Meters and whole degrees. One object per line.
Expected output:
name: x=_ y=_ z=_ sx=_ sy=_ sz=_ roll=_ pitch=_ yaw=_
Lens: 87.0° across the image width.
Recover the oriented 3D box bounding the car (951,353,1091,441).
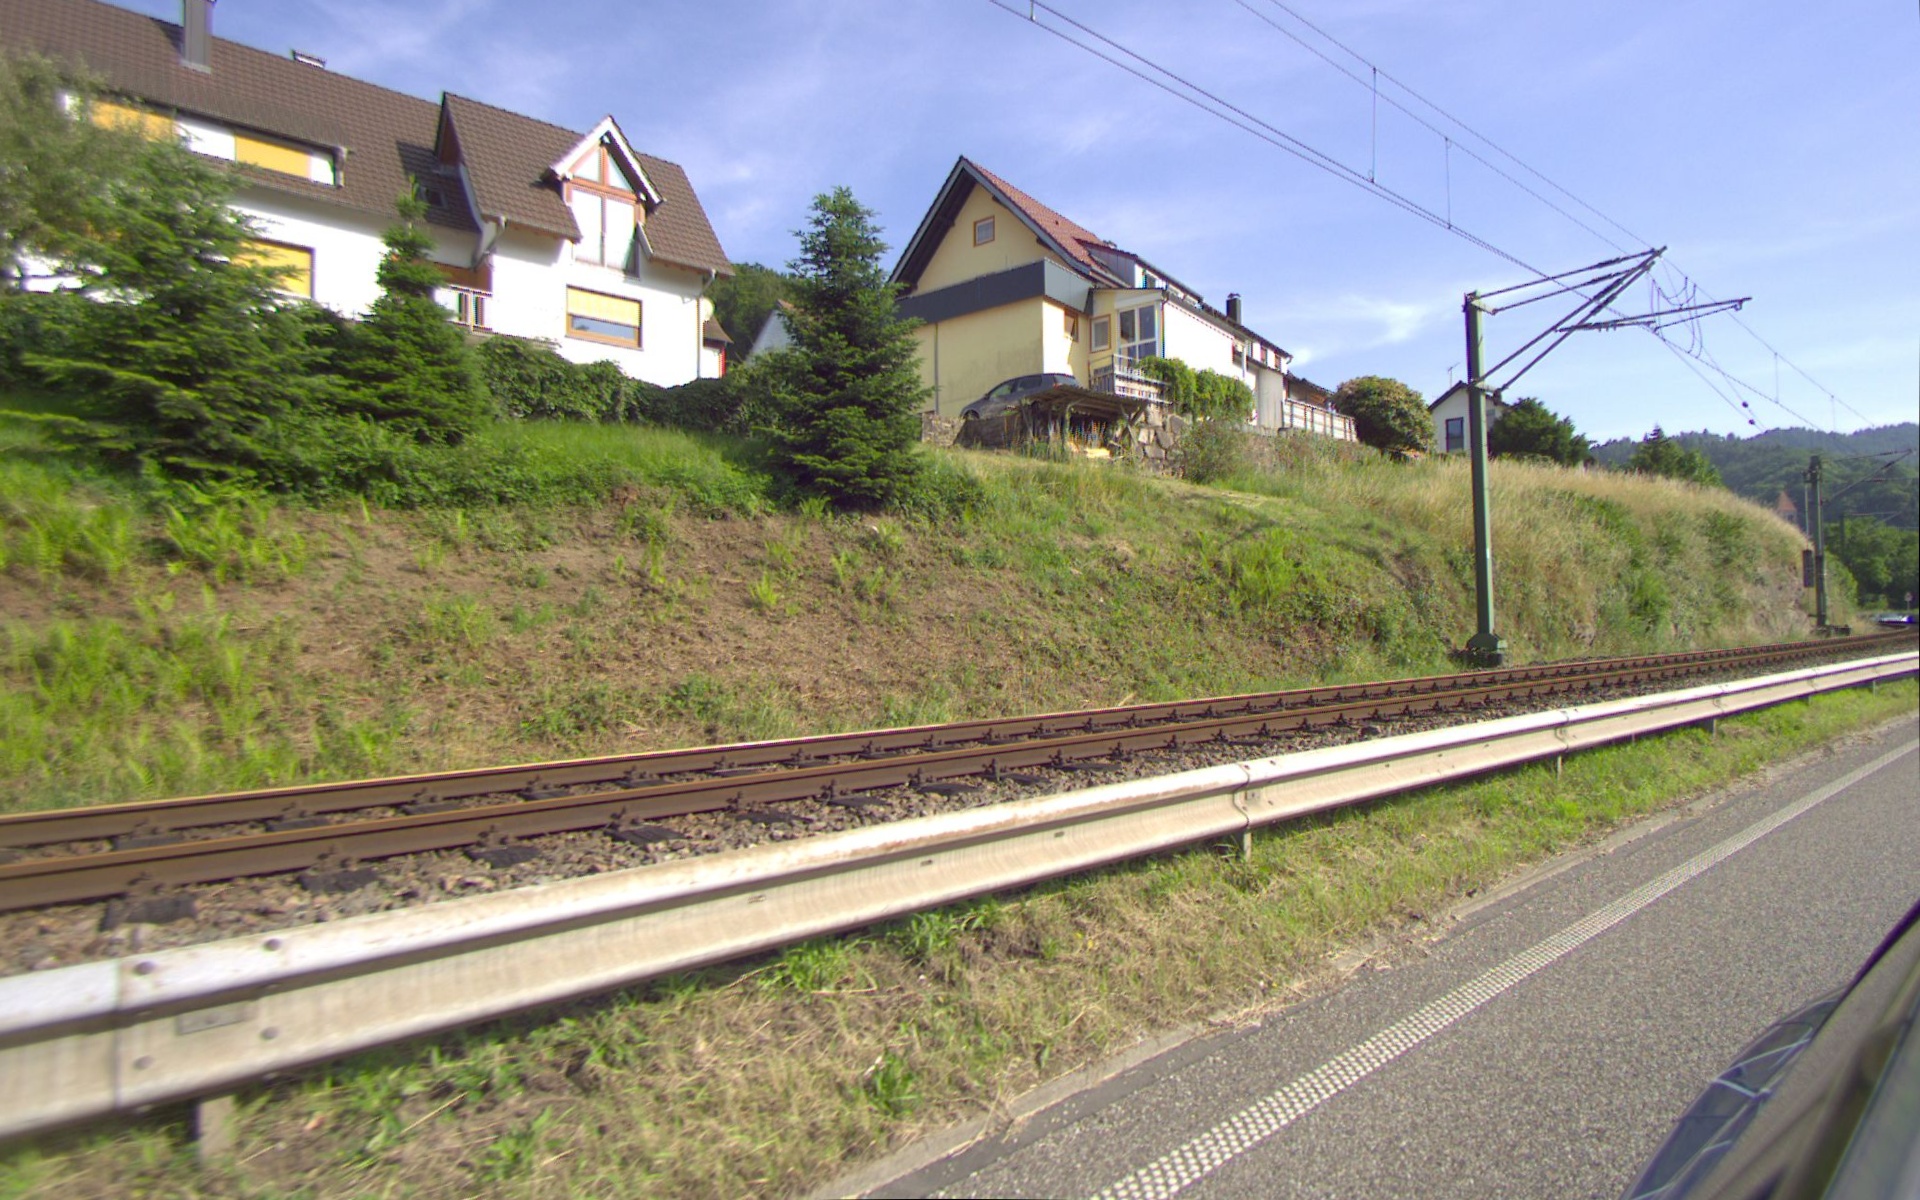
car: x=1.692 y=-5.723 z=28.919 sx=3.739 sy=1.560 sz=1.725 roll=-5 pitch=-3 yaw=44

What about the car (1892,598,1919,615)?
car: x=96.551 y=0.655 z=102.810 sx=1.871 sy=1.767 sz=4.131 roll=-1 pitch=-1 yaw=32
